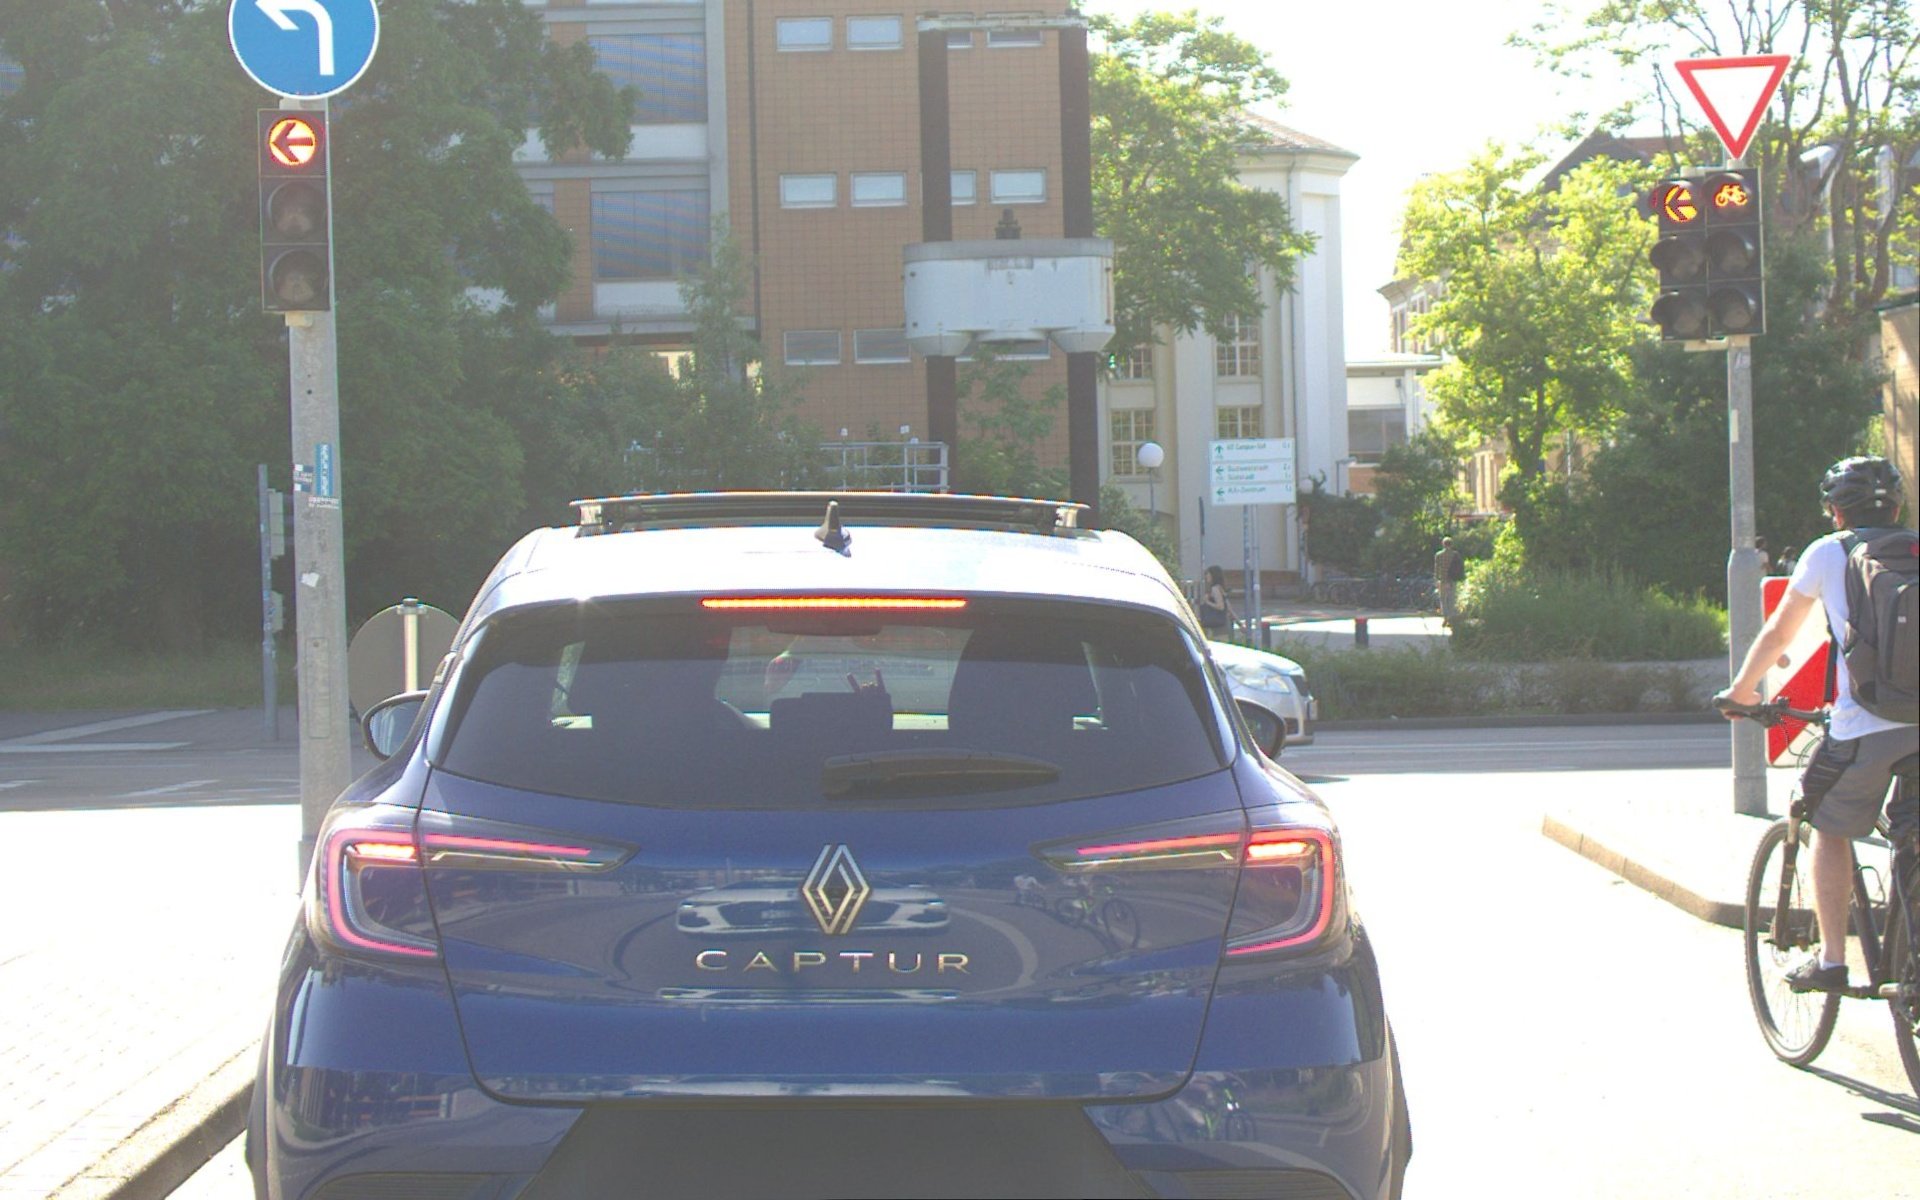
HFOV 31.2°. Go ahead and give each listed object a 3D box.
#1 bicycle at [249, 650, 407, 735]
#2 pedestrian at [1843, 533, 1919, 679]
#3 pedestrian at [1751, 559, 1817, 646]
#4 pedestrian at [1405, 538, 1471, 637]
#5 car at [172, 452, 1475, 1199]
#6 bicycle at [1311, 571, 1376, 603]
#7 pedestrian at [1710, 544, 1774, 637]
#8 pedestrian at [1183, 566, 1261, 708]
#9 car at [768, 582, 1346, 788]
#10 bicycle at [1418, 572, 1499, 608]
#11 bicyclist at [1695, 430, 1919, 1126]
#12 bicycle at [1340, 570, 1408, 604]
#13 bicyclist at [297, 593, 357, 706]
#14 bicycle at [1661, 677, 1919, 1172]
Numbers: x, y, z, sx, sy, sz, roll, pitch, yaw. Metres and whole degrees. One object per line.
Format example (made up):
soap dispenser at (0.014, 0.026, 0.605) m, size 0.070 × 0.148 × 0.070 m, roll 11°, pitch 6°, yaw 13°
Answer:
bicycle at (-8.027, 1.179, 43.725) m, size 1.862 × 1.004 × 0.700 m, roll -2°, pitch -2°, yaw -2°
pedestrian at (12.133, 0.066, 44.440) m, size 1.298 × 1.849 × 0.965 m, roll -1°, pitch 1°, yaw 11°
pedestrian at (15.547, 0.038, 64.863) m, size 0.936 × 1.607 × 1.176 m, roll -1°, pitch 1°, yaw 0°
pedestrian at (9.842, -0.269, 70.869) m, size 1.156 × 2.007 × 1.164 m, roll -1°, pitch 1°, yaw 0°
car at (-0.240, 0.591, 6.684) m, size 1.794 × 1.649 × 3.853 m, roll 0°, pitch 1°, yaw -2°
bicycle at (11.070, -0.382, 99.208) m, size 1.771 × 0.890 × 0.765 m, roll -1°, pitch 1°, yaw 0°
pedestrian at (14.882, -0.186, 65.431) m, size 0.953 × 1.735 × 0.984 m, roll -1°, pitch 1°, yaw 0°
pedestrian at (3.486, 0.490, 45.652) m, size 0.932 × 1.849 × 0.807 m, roll -1°, pitch 1°, yaw 9°
car at (0.741, 0.607, 24.665) m, size 3.846 × 1.398 × 1.891 m, roll 0°, pitch -2°, yaw 13°
bicycle at (12.040, -0.238, 83.042) m, size 1.770 × 0.820 × 0.766 m, roll -1°, pitch 1°, yaw -10°
bicyclist at (2.445, 0.454, 9.270) m, size 0.676 × 1.779 × 0.940 m, roll 1°, pitch 0°, yaw -2°
bicycle at (11.409, -0.351, 94.844) m, size 1.771 × 0.895 × 0.765 m, roll -1°, pitch 1°, yaw 0°
bicyclist at (-8.052, 0.629, 43.753) m, size 0.636 × 1.407 × 0.649 m, roll -2°, pitch -2°, yaw -2°
bicycle at (2.417, 0.811, 9.280) m, size 0.615 × 1.134 × 1.826 m, roll 0°, pitch 1°, yaw -2°
